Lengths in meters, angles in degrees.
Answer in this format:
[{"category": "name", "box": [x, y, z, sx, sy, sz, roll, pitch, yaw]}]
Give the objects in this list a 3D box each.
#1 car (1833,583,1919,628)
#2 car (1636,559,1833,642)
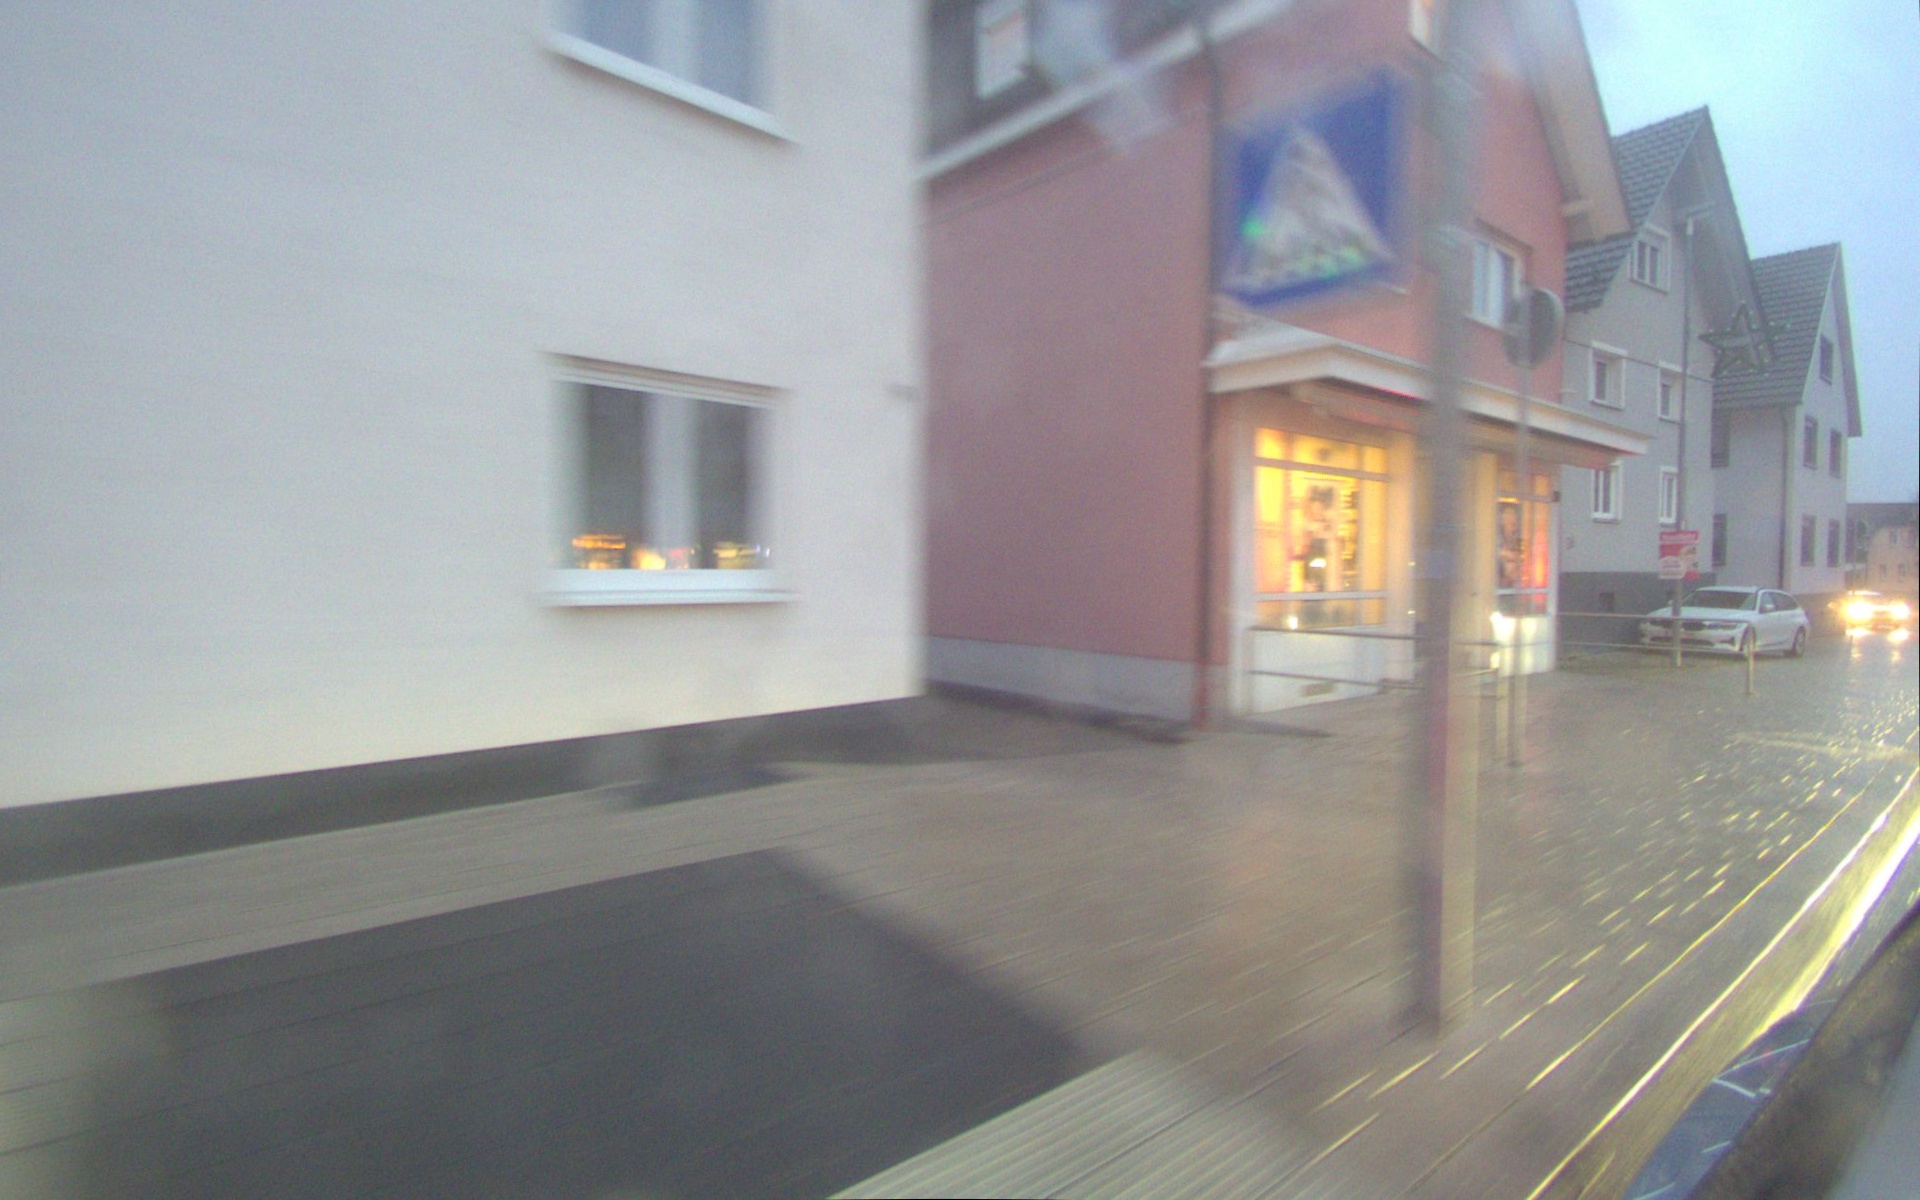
[{"category": "car", "box": [40.437, 0.225, 44.485, 1.978, 1.878, 3.969, 0, 0, 23]}, {"category": "car", "box": [16.248, -0.045, 21.163, 4.608, 1.504, 1.936, -2, 1, -35]}]
